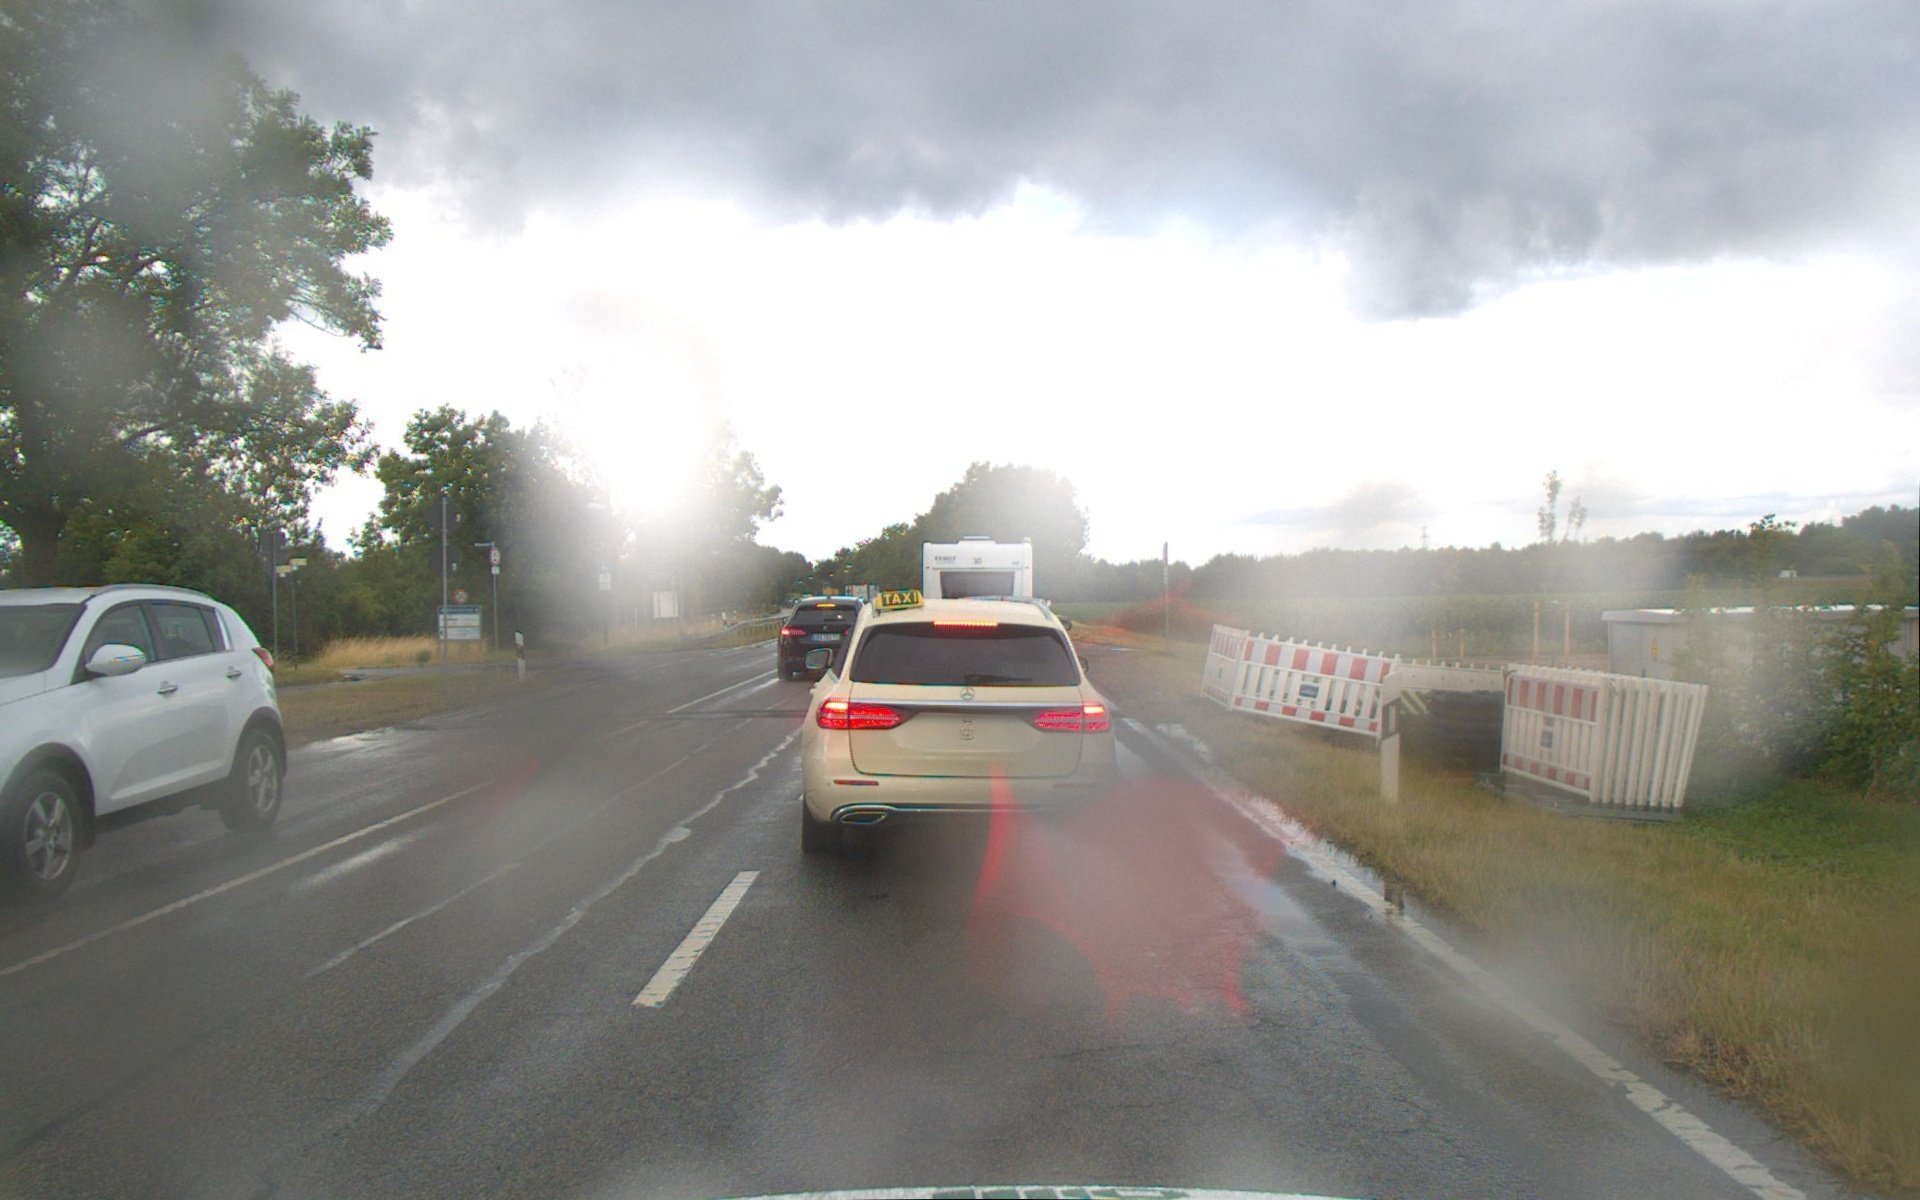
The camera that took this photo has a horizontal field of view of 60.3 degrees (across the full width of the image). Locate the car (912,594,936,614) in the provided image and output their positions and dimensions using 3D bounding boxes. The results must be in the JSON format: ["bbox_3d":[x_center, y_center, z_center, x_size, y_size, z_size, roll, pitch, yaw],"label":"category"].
[{"bbox_3d":[-3.402,0.412,154.633,1.954,1.803,3.996,-1,0,-4],"label":"car"}]

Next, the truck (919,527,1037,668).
[{"bbox_3d":[0.327,-0.065,36.905,2.315,2.776,7.313,-1,0,-1],"label":"truck"}]

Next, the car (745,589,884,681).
[{"bbox_3d":[-2.653,0.623,31.344,2.255,1.574,4.631,1,0,-1],"label":"car"}]

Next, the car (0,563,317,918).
[{"bbox_3d":[-5.436,0.707,9.623,1.669,1.700,4.156,-3,0,0],"label":"car"}]

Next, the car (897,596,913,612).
[{"bbox_3d":[-6.957,0.460,209.518,1.858,1.928,3.840,-1,0,-4],"label":"car"}]

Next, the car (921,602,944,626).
[{"bbox_3d":[-2.125,1.106,129.766,1.755,1.808,3.720,-1,0,-1],"label":"car"}]

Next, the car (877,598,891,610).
[{"bbox_3d":[-11.731,0.605,255.430,1.856,1.872,3.881,-1,0,-1],"label":"car"}]

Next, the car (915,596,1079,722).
[{"bbox_3d":[0.425,0.713,21.804,1.953,1.488,3.999,1,0,-1],"label":"car"}]

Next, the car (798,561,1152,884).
[{"bbox_3d":[0.059,0.629,10.476,1.805,1.646,3.999,0,0,-1],"label":"car"}]
